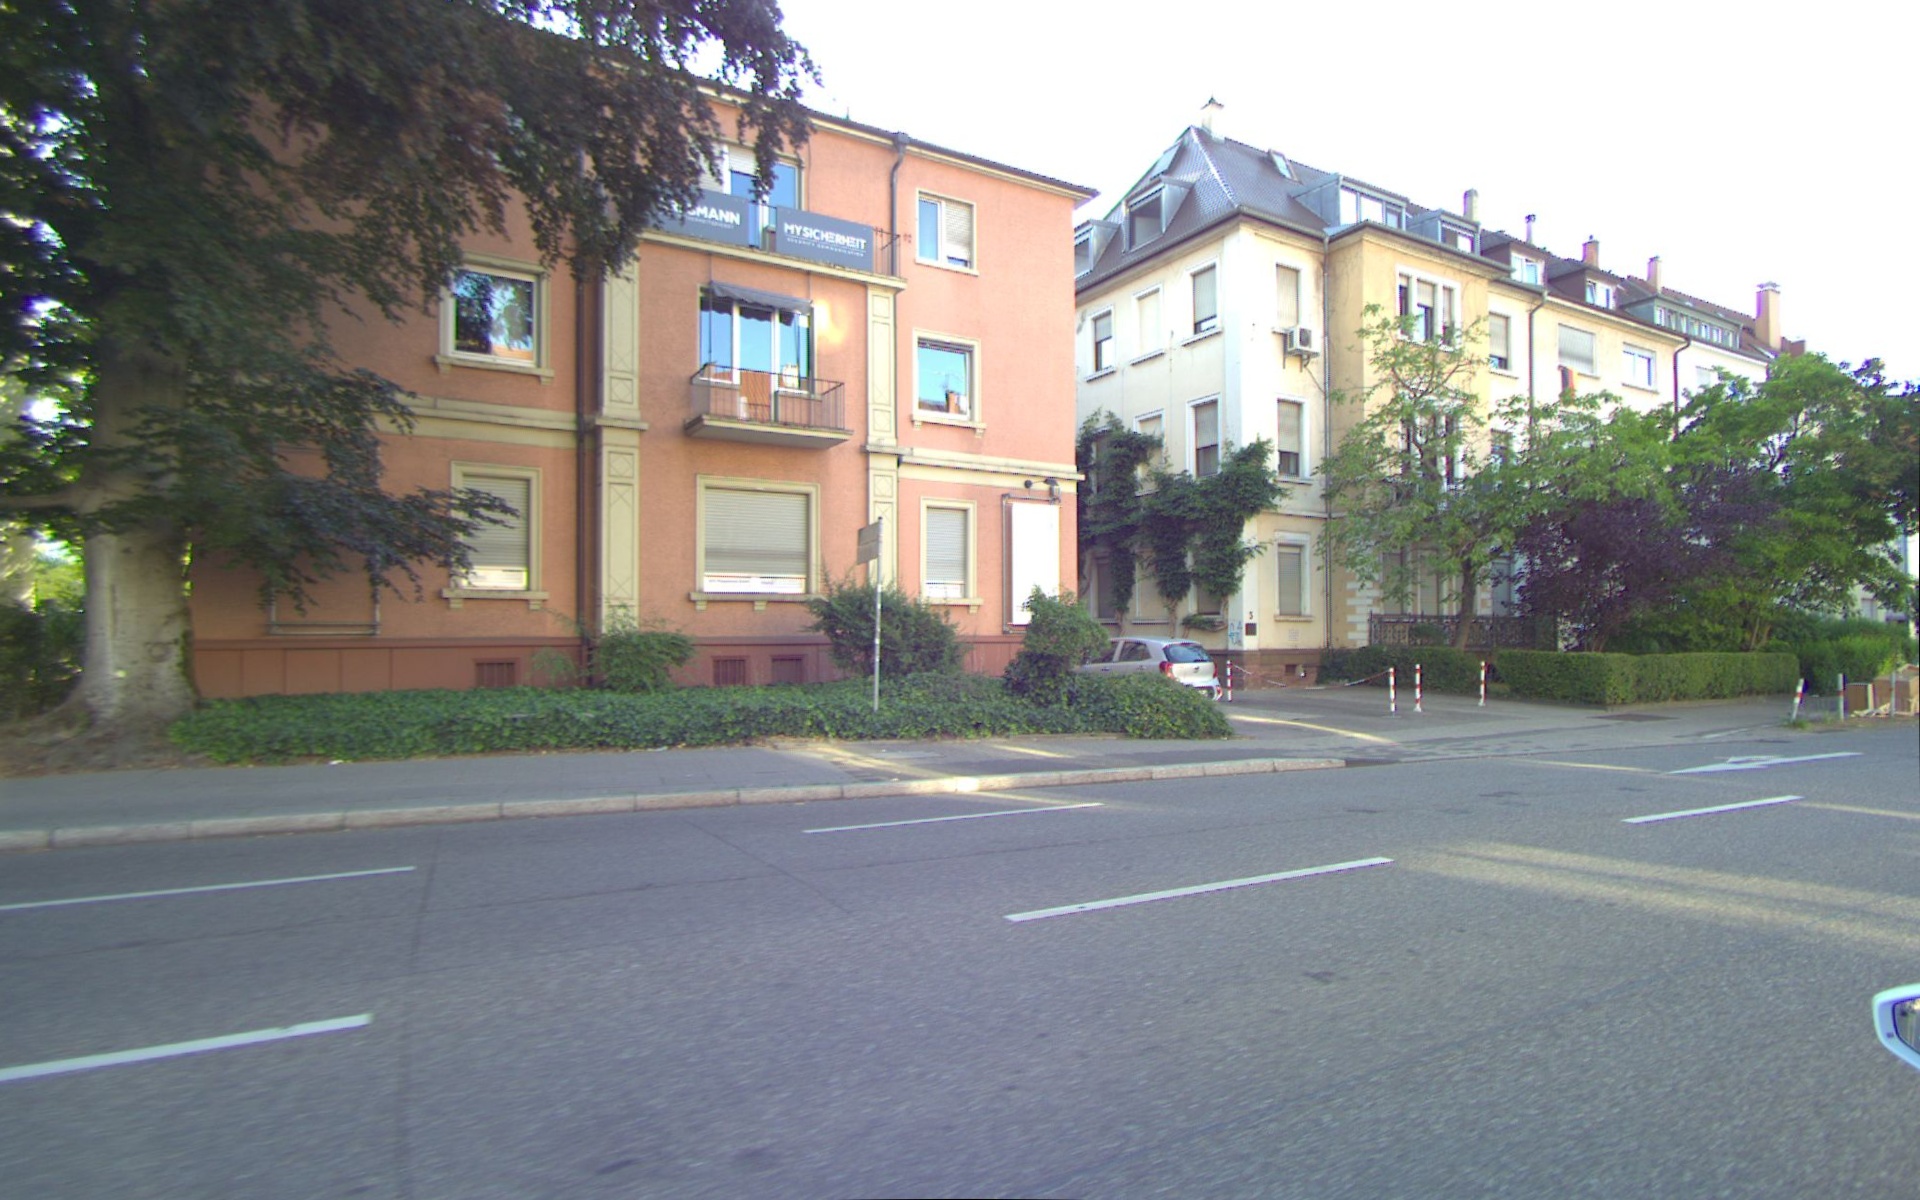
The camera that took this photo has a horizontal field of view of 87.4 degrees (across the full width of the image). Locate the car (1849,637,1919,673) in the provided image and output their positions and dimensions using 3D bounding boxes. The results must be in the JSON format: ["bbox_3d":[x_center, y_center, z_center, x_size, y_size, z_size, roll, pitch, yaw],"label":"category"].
[{"bbox_3d":[37.401,2.107,38.598,1.986,1.380,4.667,1,-2,-43],"label":"car"}]

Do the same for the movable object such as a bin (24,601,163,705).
[{"bbox_3d":[-14.723,0.878,17.151,1.438,1.673,1.497,0,-2,-27],"label":"movable object such as a bin"}]

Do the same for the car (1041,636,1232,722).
[{"bbox_3d":[3.359,1.462,19.618,1.797,1.505,3.476,1,-2,-34],"label":"car"}]
